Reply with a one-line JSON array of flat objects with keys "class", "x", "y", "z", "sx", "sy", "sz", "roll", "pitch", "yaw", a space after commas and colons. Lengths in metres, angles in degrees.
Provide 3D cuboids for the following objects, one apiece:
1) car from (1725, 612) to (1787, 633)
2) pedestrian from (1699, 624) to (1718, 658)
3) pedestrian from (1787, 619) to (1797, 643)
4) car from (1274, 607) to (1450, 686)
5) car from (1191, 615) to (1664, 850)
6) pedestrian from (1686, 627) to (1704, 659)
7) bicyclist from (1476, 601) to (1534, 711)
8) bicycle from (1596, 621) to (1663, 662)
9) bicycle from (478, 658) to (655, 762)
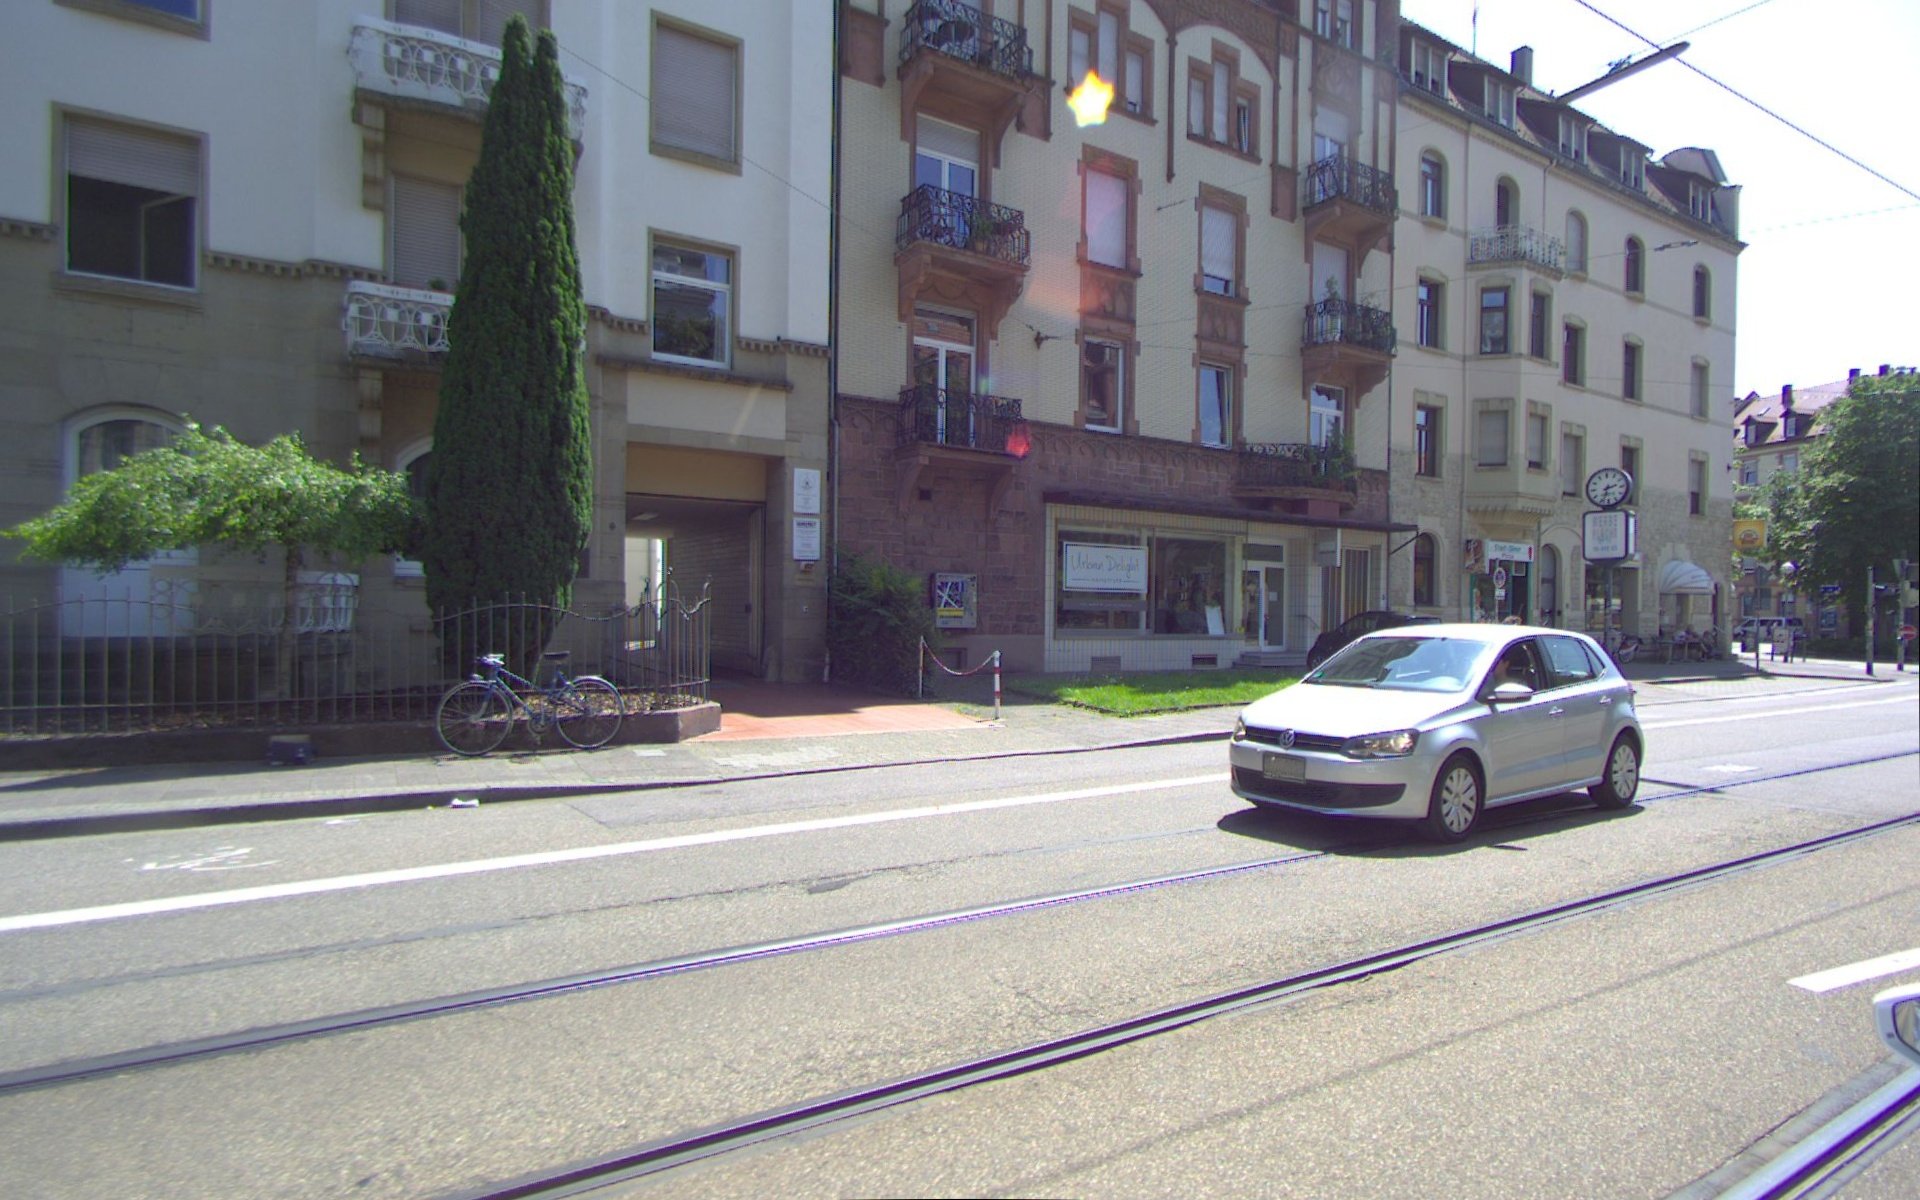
[{"class": "car", "x": 61.899, "y": 1.725, "z": 78.195, "sx": 1.513, "sy": 1.461, "sz": 3.737, "roll": 2, "pitch": 0, "yaw": -7}, {"class": "pedestrian", "x": 26.221, "y": 1.427, "z": 35.199, "sx": 0.401, "sy": 1.164, "sz": 0.402, "roll": 1, "pitch": 0, "yaw": -35}, {"class": "pedestrian", "x": 63.505, "y": 2.347, "z": 76.707, "sx": 0.500, "sy": 1.792, "sz": 0.527, "roll": 2, "pitch": 0, "yaw": 36}, {"class": "car", "x": 8.581, "y": 0.936, "z": 21.699, "sx": 1.510, "sy": 1.491, "sz": 3.340, "roll": 1, "pitch": 1, "yaw": -28}, {"class": "car", "x": 3.768, "y": 0.877, "z": 7.921, "sx": 3.786, "sy": 1.431, "sz": 1.698, "roll": 2, "pitch": -2, "yaw": -34}, {"class": "pedestrian", "x": 25.221, "y": 1.473, "z": 34.473, "sx": 0.401, "sy": 1.103, "sz": 0.352, "roll": 1, "pitch": 0, "yaw": -35}, {"class": "bicyclist", "x": 8.615, "y": 0.870, "z": 15.879, "sx": 0.573, "sy": 1.685, "sz": 0.606, "roll": 1, "pitch": 0, "yaw": -32}, {"class": "bicycle", "x": 21.283, "y": 1.314, "z": 31.927, "sx": 2.044, "sy": 1.241, "sz": 0.454, "roll": 2, "pitch": 0, "yaw": -13}, {"class": "bicycle", "x": -3.843, "y": 1.055, "z": 9.879, "sx": 1.597, "sy": 0.929, "sz": 0.251, "roll": 1, "pitch": 1, "yaw": -33}]
